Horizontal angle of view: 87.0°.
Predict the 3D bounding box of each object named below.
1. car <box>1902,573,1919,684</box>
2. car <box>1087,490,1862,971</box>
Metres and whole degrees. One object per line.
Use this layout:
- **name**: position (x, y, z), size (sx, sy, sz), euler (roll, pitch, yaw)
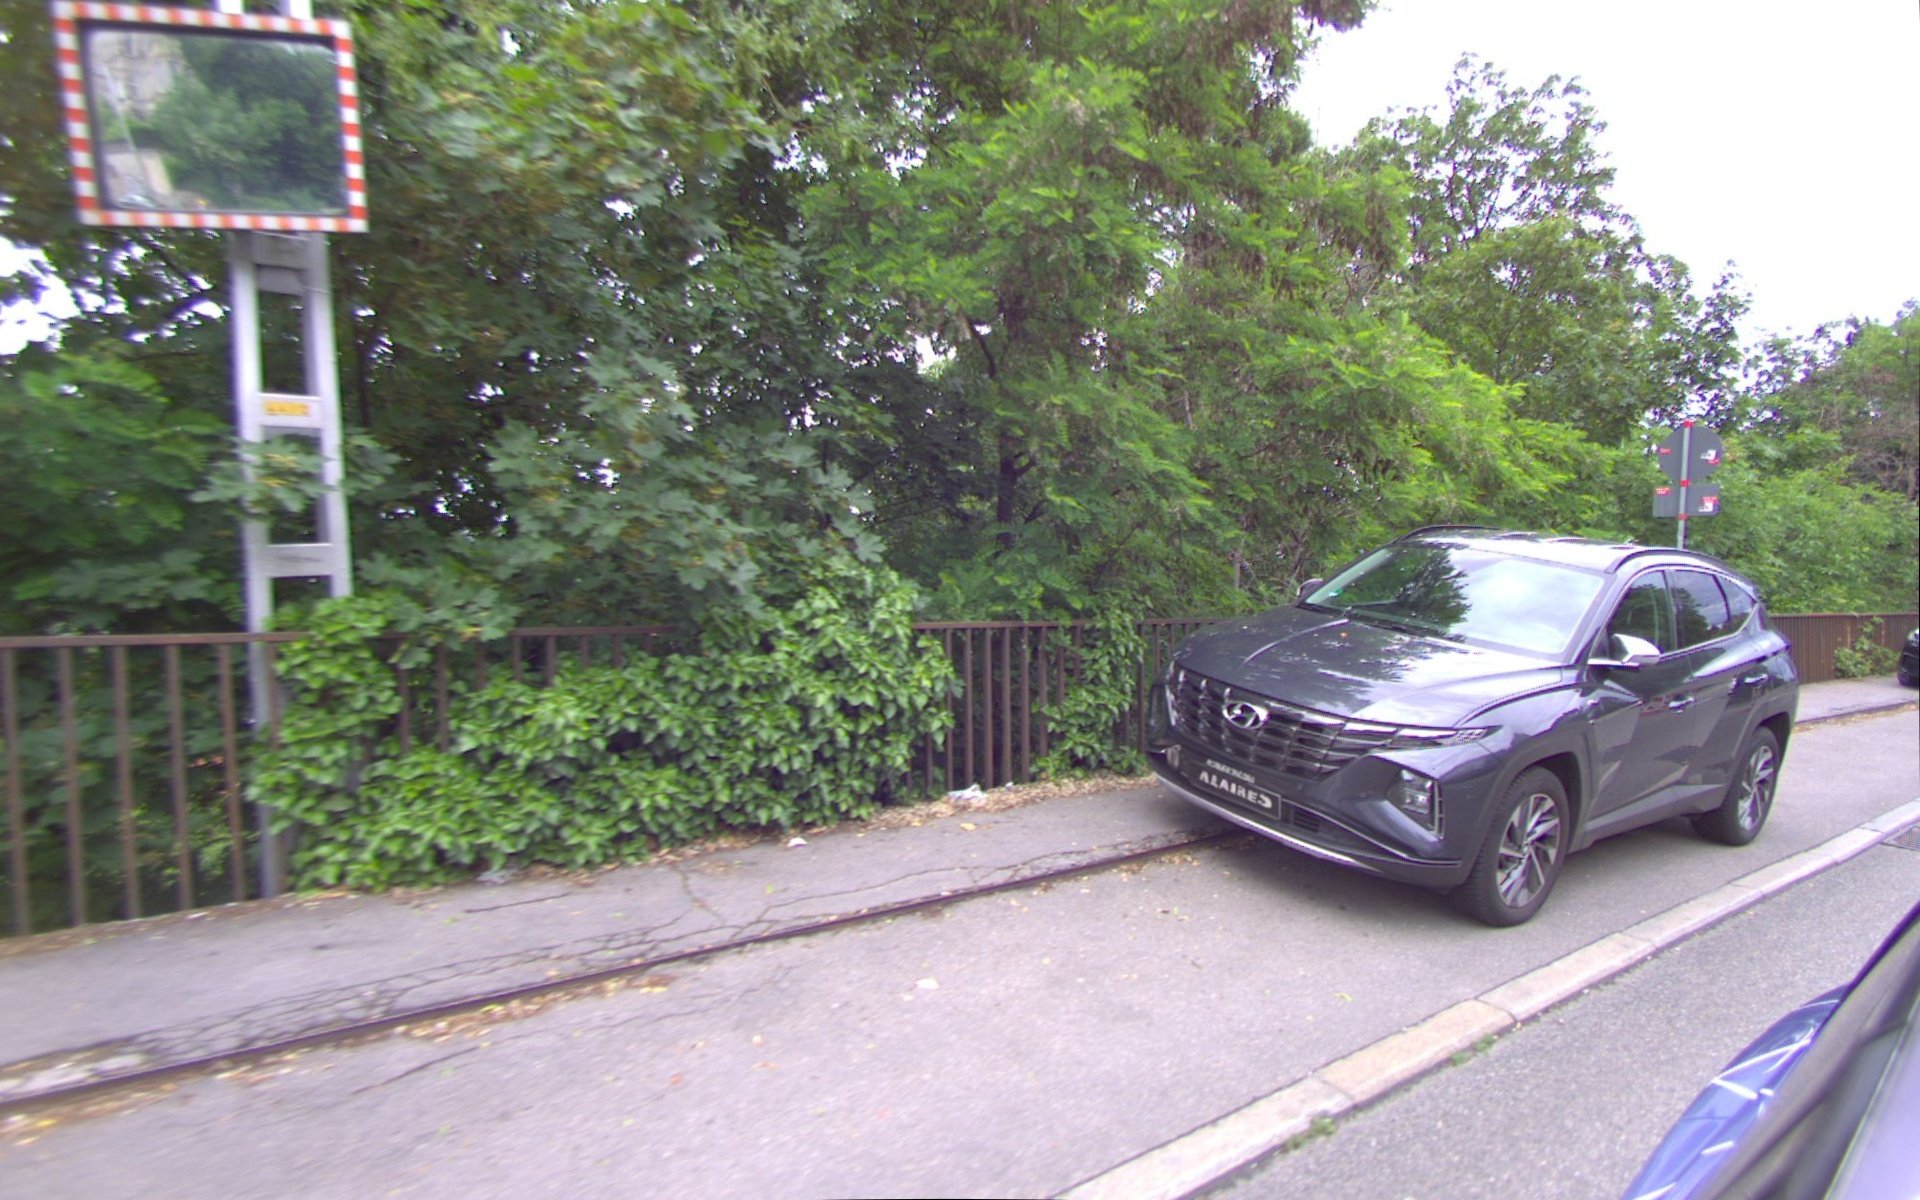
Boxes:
- **car**: position (14.764, 0.474, 13.739), size (4.150, 1.452, 1.862), euler (0, 7, -34)
- **car**: position (2.957, 0.397, 5.571), size (4.196, 1.692, 1.862), euler (0, 7, -34)
